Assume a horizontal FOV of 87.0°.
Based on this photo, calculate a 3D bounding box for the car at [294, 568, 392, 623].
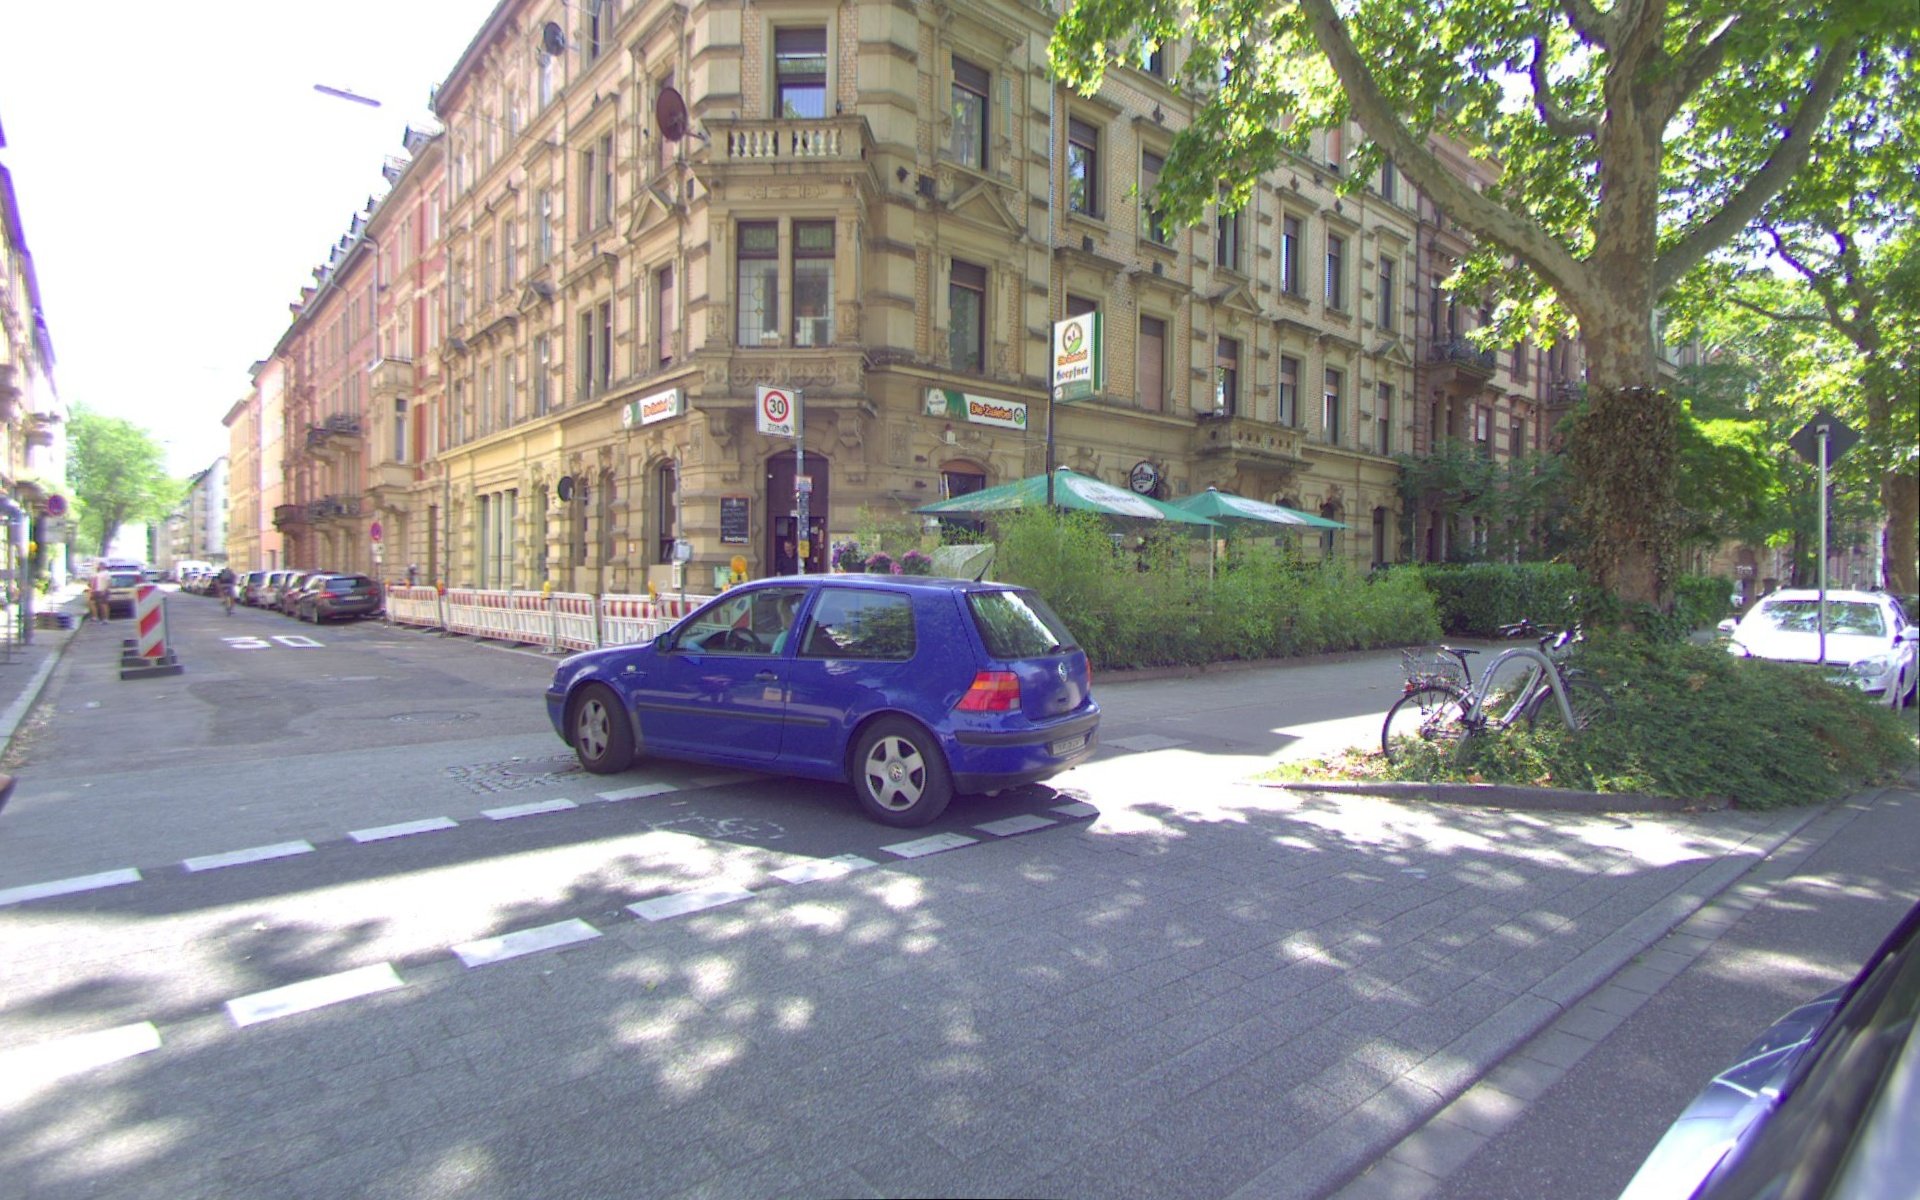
[{"bbox_3d":[-18.997,-0.174,31.098,1.965,1.571,3.995,-1,2,-40],"label":"car"}]

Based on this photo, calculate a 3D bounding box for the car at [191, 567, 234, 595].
[{"bbox_3d":[-48.527,-1.227,65.661,1.965,1.760,3.995,-1,2,-40],"label":"car"}]

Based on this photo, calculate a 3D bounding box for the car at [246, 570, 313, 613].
[{"bbox_3d":[-29.575,-0.417,43.933,1.965,1.760,3.995,-1,2,-40],"label":"car"}]

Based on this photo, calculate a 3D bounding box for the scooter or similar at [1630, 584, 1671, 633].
[{"bbox_3d":[18.233,0.207,26.716,1.125,1.263,0.583,0,1,-40],"label":"scooter or similar"}]

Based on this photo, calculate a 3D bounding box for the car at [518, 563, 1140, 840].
[{"bbox_3d":[-0.985,0.479,7.106,4.058,1.427,1.868,1,1,30],"label":"car"}]

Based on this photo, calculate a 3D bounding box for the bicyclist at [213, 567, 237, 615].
[{"bbox_3d":[-25.411,-0.331,34.972,0.614,1.643,0.693,0,1,-42],"label":"bicyclist"}]

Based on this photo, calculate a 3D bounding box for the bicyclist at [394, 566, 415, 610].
[{"bbox_3d":[-18.912,-0.406,34.445,0.524,1.471,0.460,0,1,-44],"label":"bicyclist"}]

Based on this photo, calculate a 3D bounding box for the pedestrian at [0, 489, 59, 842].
[{"bbox_3d":[-5.301,0.330,5.310,0.837,1.807,0.737,0,1,-41],"label":"pedestrian"}]

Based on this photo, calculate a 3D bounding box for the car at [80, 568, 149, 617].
[{"bbox_3d":[-28.350,-0.281,33.894,1.698,1.548,3.489,-1,2,-41],"label":"car"}]

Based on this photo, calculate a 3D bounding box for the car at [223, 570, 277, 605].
[{"bbox_3d":[-37.234,-0.700,53.035,1.965,1.760,3.995,-1,2,-40],"label":"car"}]

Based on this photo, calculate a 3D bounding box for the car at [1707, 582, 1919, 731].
[{"bbox_3d":[11.013,0.552,12.777,4.418,1.526,1.835,-1,2,-44],"label":"car"}]

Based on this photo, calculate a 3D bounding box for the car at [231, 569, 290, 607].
[{"bbox_3d":[-33.590,-0.617,48.560,1.965,1.760,3.995,-1,2,-40],"label":"car"}]

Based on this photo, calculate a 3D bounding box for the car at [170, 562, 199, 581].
[{"bbox_3d":[-73.174,-2.651,95.460,1.965,1.760,3.995,-1,2,-40],"label":"car"}]

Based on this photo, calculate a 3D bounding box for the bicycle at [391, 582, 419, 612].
[{"bbox_3d":[-18.877,-0.112,34.417,0.530,0.991,1.306,0,1,-43],"label":"bicycle"}]

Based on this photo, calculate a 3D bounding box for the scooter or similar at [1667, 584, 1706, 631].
[{"bbox_3d":[20.358,0.197,28.345,1.124,1.298,0.583,0,1,-39],"label":"scooter or similar"}]

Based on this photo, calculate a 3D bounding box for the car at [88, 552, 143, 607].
[{"bbox_3d":[-39.022,-0.963,46.826,1.879,2.403,4.244,0,1,-39],"label":"car"}]

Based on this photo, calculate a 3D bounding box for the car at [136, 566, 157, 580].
[{"bbox_3d":[-104.697,-3.530,130.246,1.965,1.760,3.995,0,2,-40],"label":"car"}]

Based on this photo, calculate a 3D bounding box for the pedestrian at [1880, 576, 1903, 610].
[{"bbox_3d":[49.210,-0.377,53.458,0.951,1.740,0.796,0,1,-41],"label":"pedestrian"}]

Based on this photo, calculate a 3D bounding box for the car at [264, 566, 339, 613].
[{"bbox_3d":[-25.903,-0.443,39.764,1.965,1.760,3.995,-1,2,-40],"label":"car"}]

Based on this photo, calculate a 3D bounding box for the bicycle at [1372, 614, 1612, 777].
[{"bbox_3d":[3.858,0.668,7.366,1.583,1.119,0.423,0,1,-8],"label":"bicycle"}]

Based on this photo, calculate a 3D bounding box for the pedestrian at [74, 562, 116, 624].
[{"bbox_3d":[-26.015,-0.233,30.440,0.921,1.821,1.036,-1,1,-44],"label":"pedestrian"}]

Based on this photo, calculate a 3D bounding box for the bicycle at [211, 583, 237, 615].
[{"bbox_3d":[-25.507,-0.036,35.045,0.524,1.062,1.922,0,1,-42],"label":"bicycle"}]

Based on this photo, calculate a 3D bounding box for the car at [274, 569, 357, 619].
[{"bbox_3d":[-22.907,-0.247,35.934,1.965,1.660,3.995,-1,2,-40],"label":"car"}]

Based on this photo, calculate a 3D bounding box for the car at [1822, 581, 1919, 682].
[{"bbox_3d":[16.368,0.463,17.234,4.561,1.526,1.837,-1,2,-40],"label":"car"}]
